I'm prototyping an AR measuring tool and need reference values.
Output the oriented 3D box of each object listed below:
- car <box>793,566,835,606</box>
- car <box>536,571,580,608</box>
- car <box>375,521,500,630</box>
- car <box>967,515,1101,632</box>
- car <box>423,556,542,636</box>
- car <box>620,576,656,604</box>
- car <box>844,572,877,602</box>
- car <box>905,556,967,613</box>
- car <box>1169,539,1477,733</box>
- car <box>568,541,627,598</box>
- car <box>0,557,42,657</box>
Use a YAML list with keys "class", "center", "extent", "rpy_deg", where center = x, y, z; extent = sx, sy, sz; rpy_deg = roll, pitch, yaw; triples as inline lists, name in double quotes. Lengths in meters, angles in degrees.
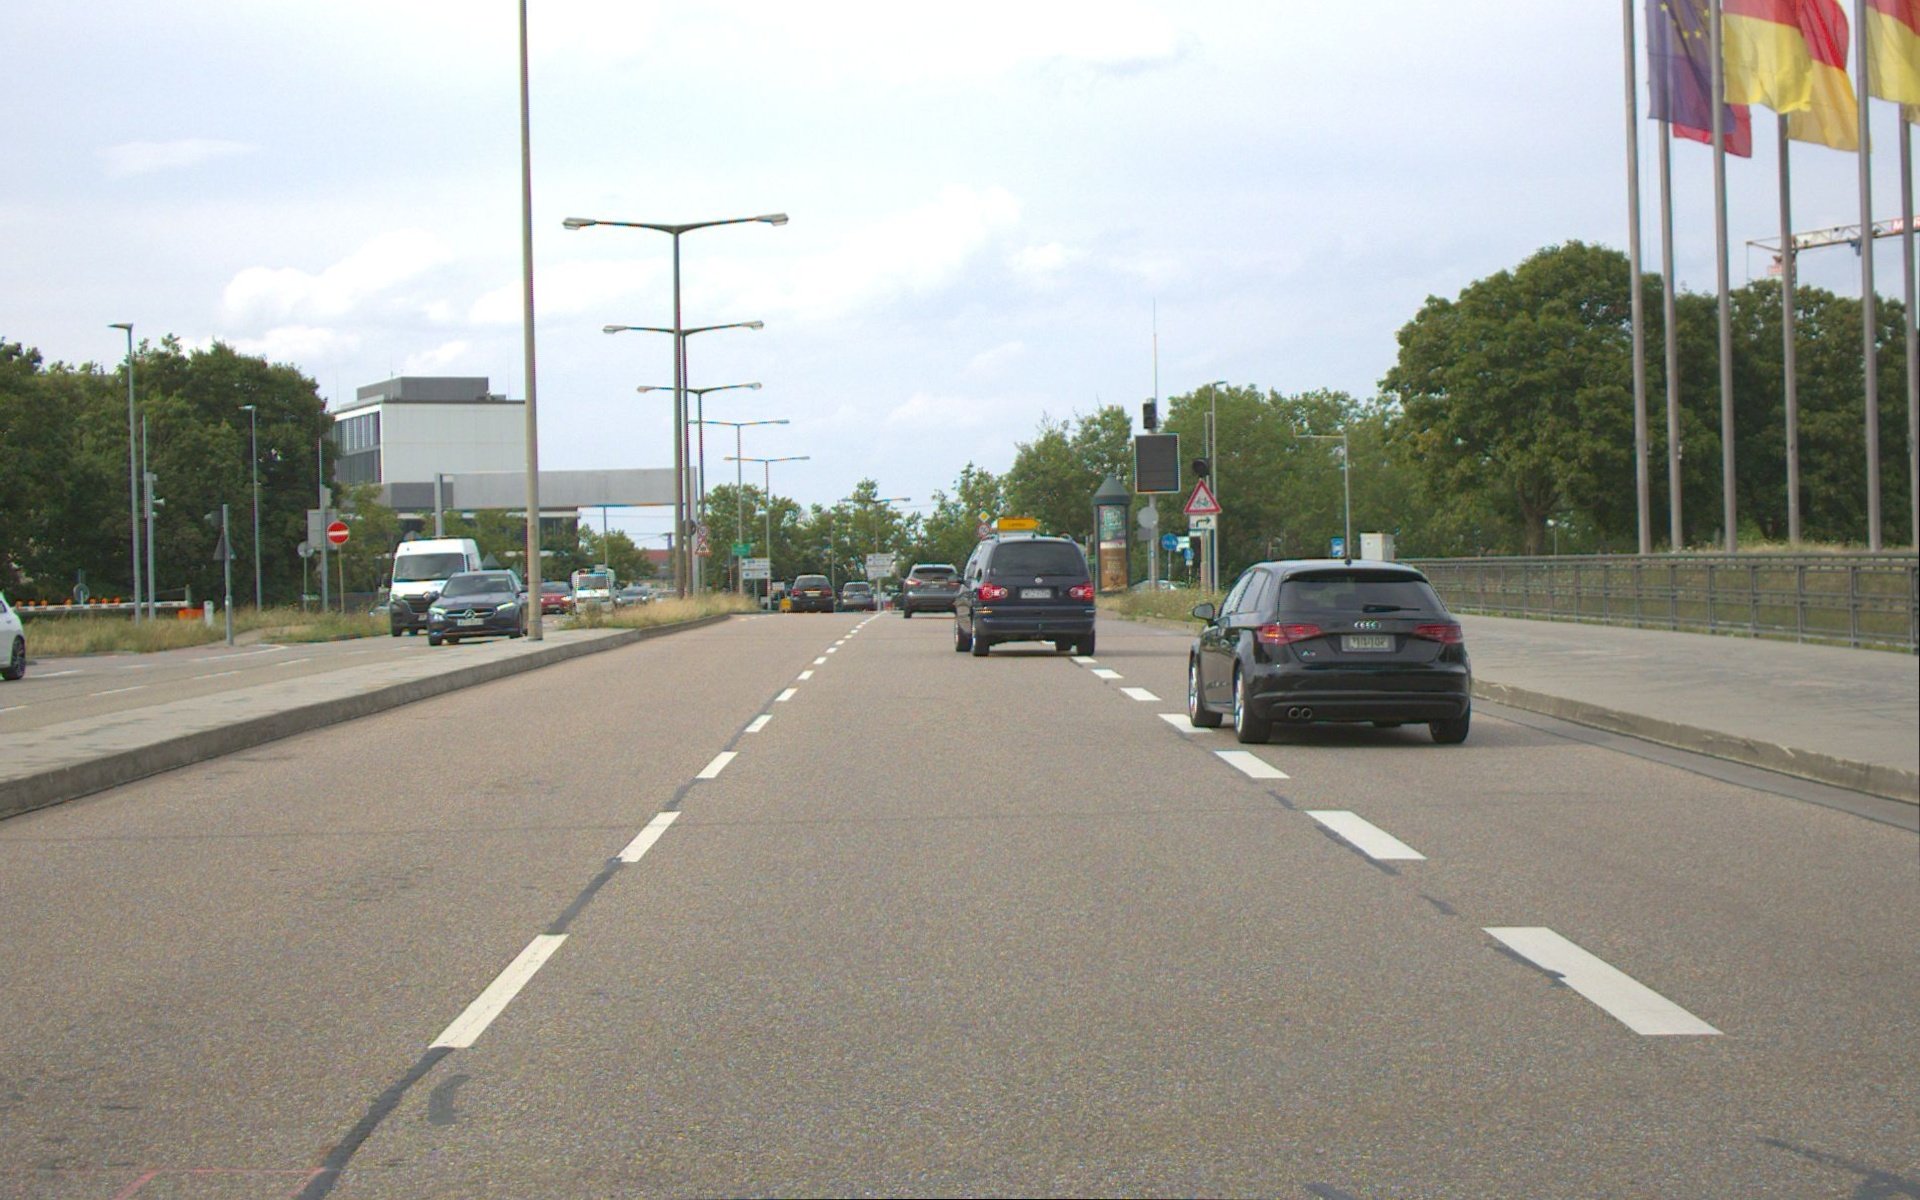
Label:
- class: "car"
  center: [-6.112, -0.574, 144.013]
  extent: [1.730, 1.647, 4.115]
  rpy_deg: [0, 0, -2]
- class: "car"
  center: [-18.318, -0.462, 156.758]
  extent: [1.651, 1.569, 4.339]
  rpy_deg: [-3, 0, -3]
- class: "car"
  center: [-13.446, -0.641, 88.794]
  extent: [2.053, 2.634, 6.400]
  rpy_deg: [-3, 1, 1]
- class: "car"
  center: [1.044, -0.363, 50.295]
  extent: [1.730, 1.647, 4.115]
  rpy_deg: [0, 0, -2]
- class: "car"
  center: [-9.500, -0.061, 68.676]
  extent: [1.738, 1.475, 4.776]
  rpy_deg: [-3, 0, -1]
- class: "car"
  center: [-17.798, -0.556, 190.140]
  extent: [1.745, 1.470, 4.565]
  rpy_deg: [-2, 0, -3]
- class: "car"
  center: [-5.265, -0.678, 182.037]
  extent: [1.730, 1.521, 4.115]
  rpy_deg: [0, 0, -2]
- class: "car"
  center: [-0.729, -0.436, 101.780]
  extent: [1.730, 1.647, 4.115]
  rpy_deg: [0, 0, -2]
- class: "car"
  center: [2.785, 0.267, 27.236]
  extent: [1.730, 1.390, 4.115]
  rpy_deg: [-1, 0, -4]
- class: "car"
  center: [-12.404, -1.038, 117.770]
  extent: [1.540, 1.865, 3.570]
  rpy_deg: [-3, 1, 0]
- class: "car"
  center: [-14.978, 0.144, 50.228]
  extent: [1.738, 1.475, 4.471]
  rpy_deg: [-3, 0, 2]
